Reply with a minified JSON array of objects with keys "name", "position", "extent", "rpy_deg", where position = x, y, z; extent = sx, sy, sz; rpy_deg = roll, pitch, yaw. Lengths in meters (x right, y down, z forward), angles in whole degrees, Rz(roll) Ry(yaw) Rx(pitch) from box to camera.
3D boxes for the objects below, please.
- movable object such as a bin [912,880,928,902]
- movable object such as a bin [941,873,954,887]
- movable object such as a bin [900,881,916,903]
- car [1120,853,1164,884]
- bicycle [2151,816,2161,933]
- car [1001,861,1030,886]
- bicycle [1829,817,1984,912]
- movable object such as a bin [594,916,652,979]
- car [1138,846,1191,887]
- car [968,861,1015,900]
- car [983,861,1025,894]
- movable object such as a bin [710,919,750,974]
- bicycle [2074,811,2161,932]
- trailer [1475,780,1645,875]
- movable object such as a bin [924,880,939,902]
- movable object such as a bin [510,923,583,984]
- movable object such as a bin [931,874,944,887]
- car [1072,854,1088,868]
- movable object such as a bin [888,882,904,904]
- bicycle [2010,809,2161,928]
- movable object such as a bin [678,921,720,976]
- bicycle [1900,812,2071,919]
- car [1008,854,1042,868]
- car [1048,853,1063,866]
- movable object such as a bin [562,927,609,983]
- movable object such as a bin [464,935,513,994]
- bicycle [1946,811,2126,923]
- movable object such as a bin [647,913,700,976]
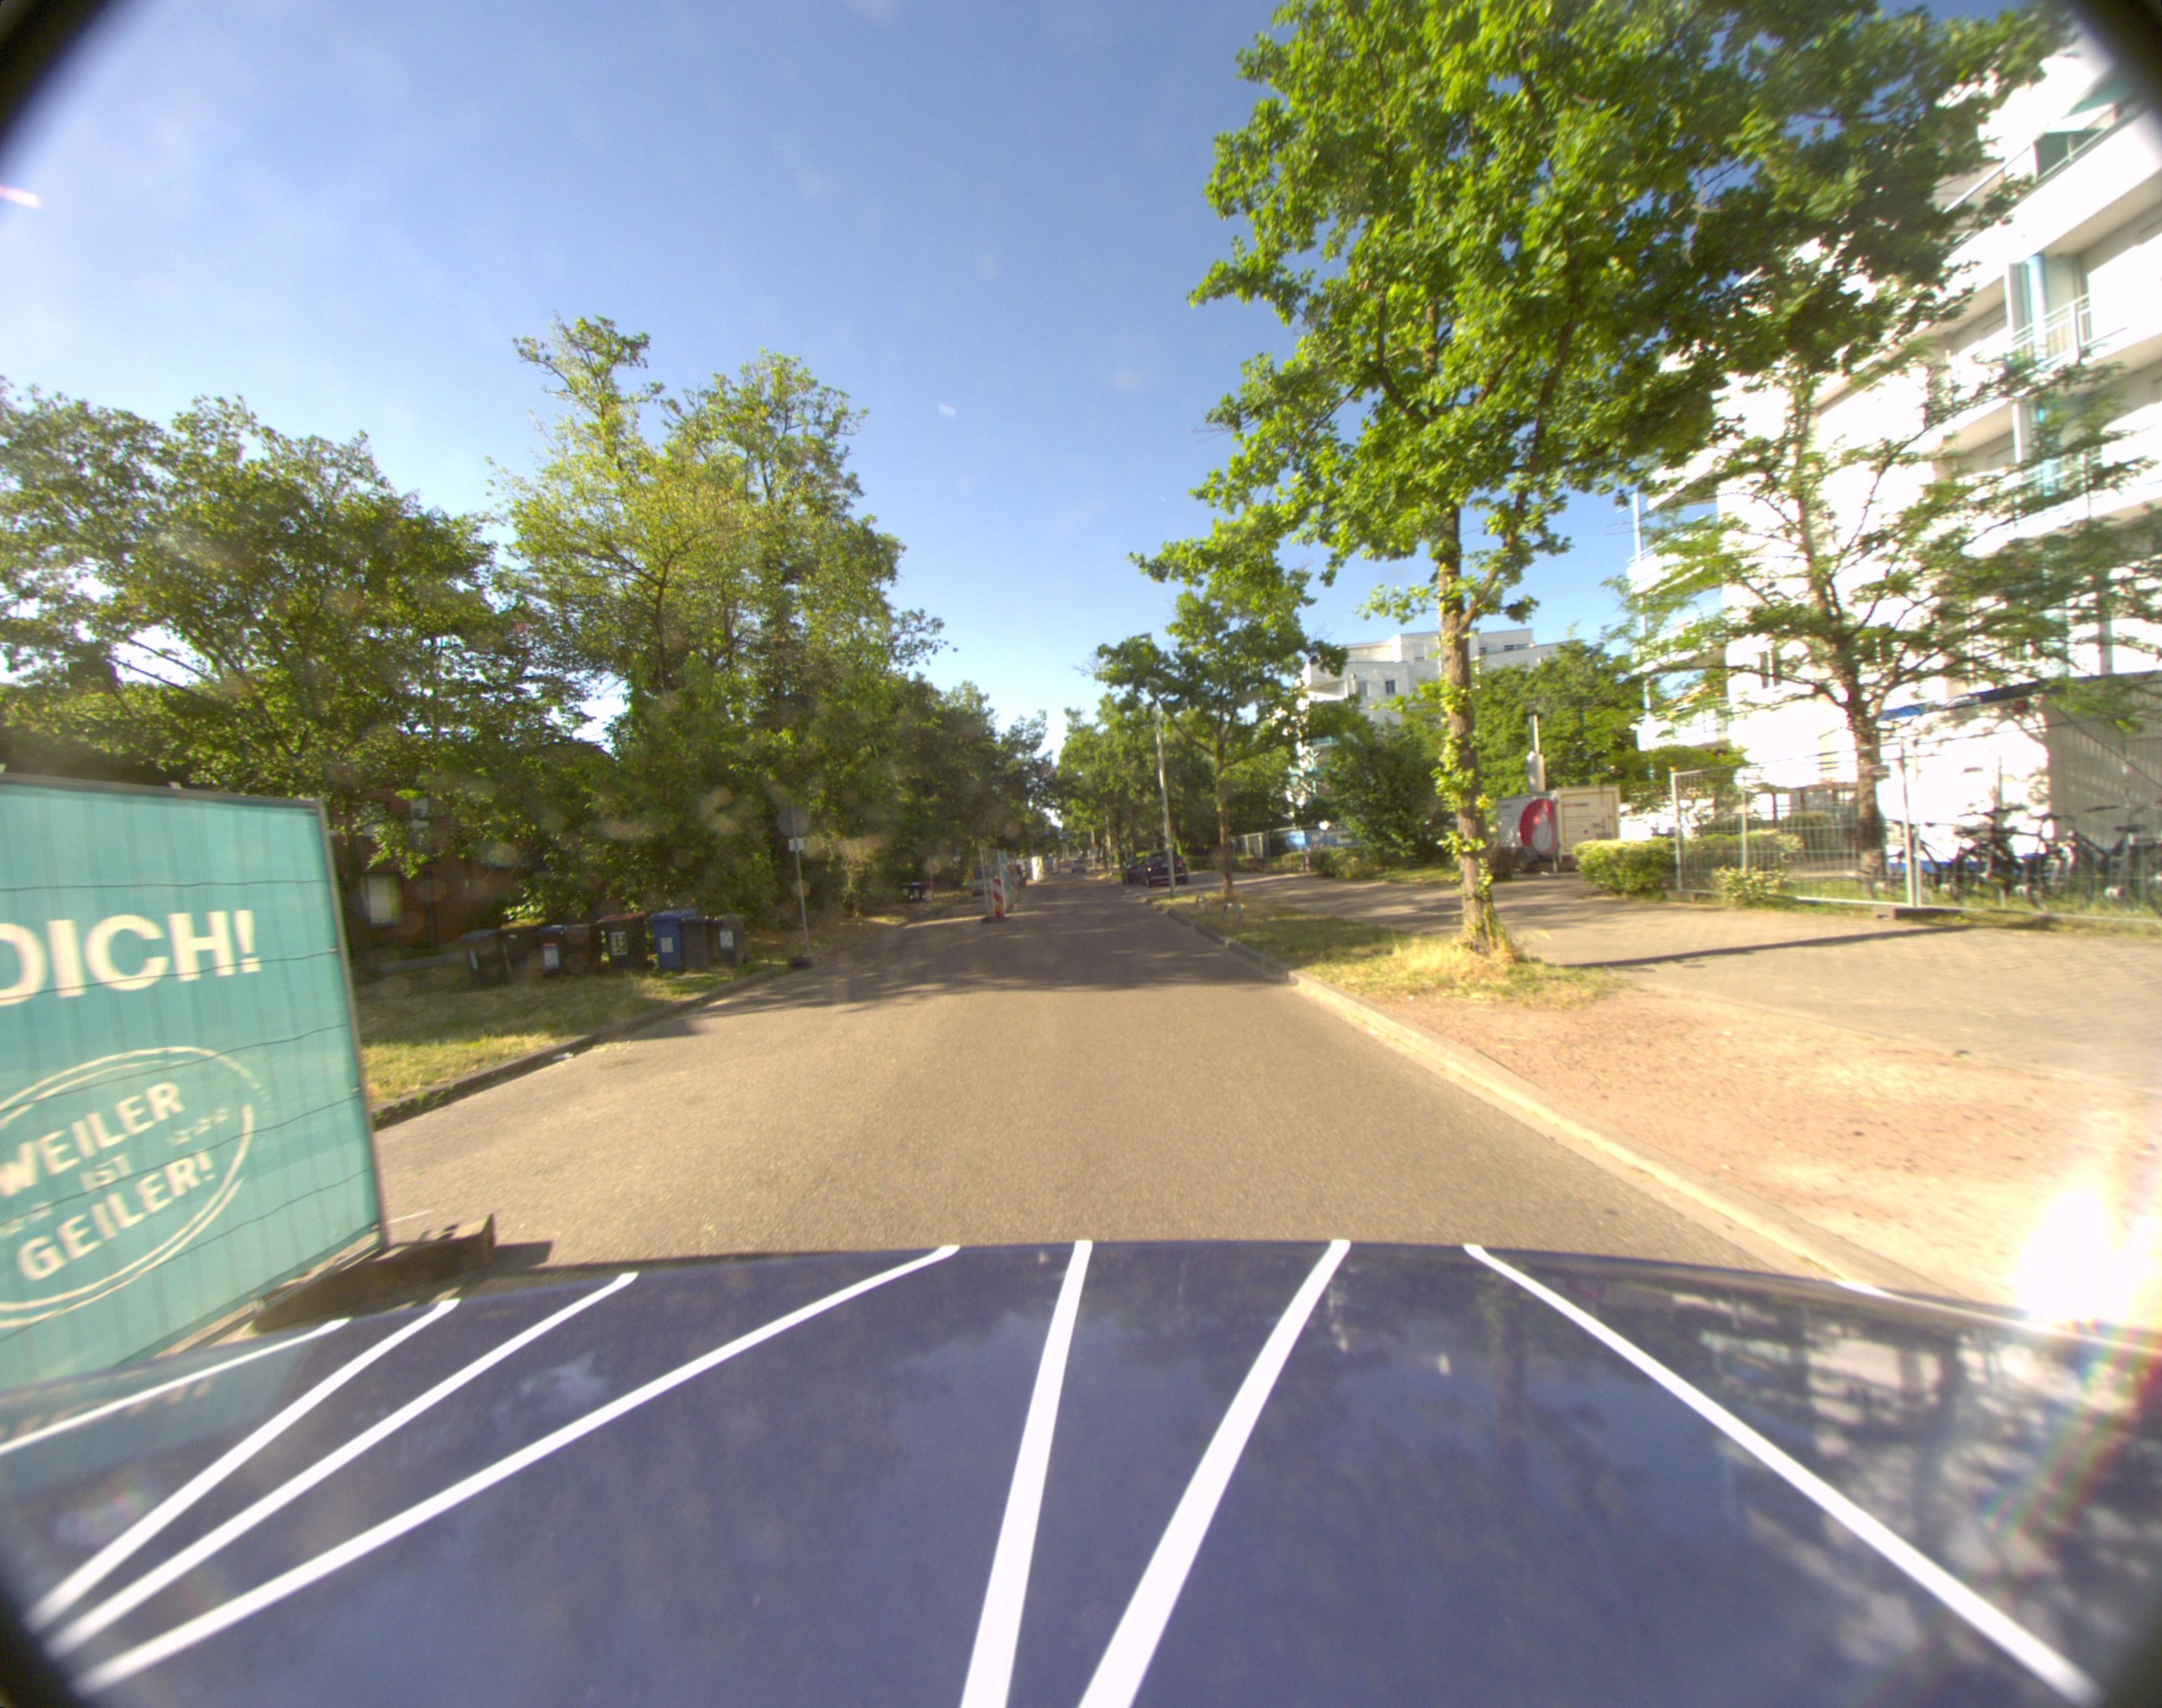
[{"name":"movable object such as a bin","position":[-6.743,1.550,31.811],"extent":[0.485,0.856,0.559],"rpy_deg":[-5,0,-3]},{"name":"movable object such as a bin","position":[-9.353,1.823,53.264],"extent":[0.727,0.877,0.462],"rpy_deg":[-3,7,6]},{"name":"movable object such as a bin","position":[-7.237,1.601,31.790],"extent":[0.485,0.856,0.559],"rpy_deg":[-5,0,-3]},{"name":"car","position":[3.275,0.763,41.430],"extent":[1.721,1.424,4.136],"rpy_deg":[-6,0,-4]},{"name":"bicycle","position":[10.405,0.112,6.693],"extent":[1.921,1.021,0.400],"rpy_deg":[-5,1,-13]},{"name":"car","position":[-4.425,1.323,51.708],"extent":[1.497,1.500,2.677],"rpy_deg":[-5,0,2]},{"name":"bicycle","position":[10.288,0.117,9.467],"extent":[1.875,1.021,0.400],"rpy_deg":[-5,1,-13]},{"name":"movable object such as a bin","position":[-7.876,1.595,13.078],"extent":[0.564,0.994,0.608],"rpy_deg":[-3,1,1]},{"name":"car","position":[3.771,0.546,34.859],"extent":[1.780,1.612,4.220],"rpy_deg":[-6,0,0]},{"name":"car","position":[-4.294,1.223,36.999],"extent":[1.683,1.612,4.137],"rpy_deg":[-5,0,-1]},{"name":"car","position":[-4.245,1.274,42.361],"extent":[1.683,1.565,4.066],"rpy_deg":[-5,0,1]},{"name":"movable object such as a bin","position":[-6.010,1.575,13.030],"extent":[0.414,0.865,0.484],"rpy_deg":[-3,1,1]},{"name":"bicycle","position":[10.308,0.113,7.158],"extent":[1.844,1.021,0.400],"rpy_deg":[-5,1,-13]},{"name":"trailer","position":[12.712,-0.644,20.536],"extent":[1.868,2.108,4.347],"rpy_deg":[-6,0,4]},{"name":"movable object such as a bin","position":[-6.252,1.530,31.838],"extent":[0.485,0.856,0.559],"rpy_deg":[-5,0,-3]},{"name":"movable object such as a bin","position":[-9.135,1.688,13.006],"extent":[0.696,0.923,0.695],"rpy_deg":[-3,1,1]},{"name":"movable object such as a bin","position":[-10.086,1.856,53.344],"extent":[0.727,0.877,0.462],"rpy_deg":[-3,7,6]},{"name":"car","position":[-0.136,0.828,89.335],"extent":[1.664,1.587,4.007],"rpy_deg":[-3,0,-3]},{"name":"movable object such as a bin","position":[-7.732,1.625,31.830],"extent":[0.485,0.856,0.559],"rpy_deg":[-5,0,-3]},{"name":"bicycle","position":[10.234,0.118,7.580],"extent":[1.865,1.021,0.400],"rpy_deg":[-5,1,-13]},{"name":"movable object such as a bin","position":[-6.502,1.598,12.954],"extent":[0.414,0.865,0.484],"rpy_deg":[-3,1,1]},{"name":"bicycle","position":[10.151,0.113,8.525],"extent":[1.861,1.021,0.400],"rpy_deg":[-5,1,-13]},{"name":"car","position":[-9.201,1.214,124.950],"extent":[5.269,1.993,2.000],"rpy_deg":[-3,0,-2]},{"name":"car","position":[-3.886,0.812,114.657],"extent":[1.998,1.871,4.000],"rpy_deg":[-3,1,1]},{"name":"movable object such as a bin","position":[-8.455,1.711,12.975],"extent":[0.419,0.865,0.525],"rpy_deg":[-3,1,1]},{"name":"movable object such as a bin","position":[-9.962,1.851,12.792],"extent":[0.426,0.877,0.524],"rpy_deg":[-3,1,-11]},{"name":"bicycle","position":[10.124,0.120,8.052],"extent":[1.844,1.021,0.400],"rpy_deg":[-5,1,-13]},{"name":"movable object such as a bin","position":[-7.024,1.556,13.114],"extent":[0.520,0.994,0.608],"rpy_deg":[-3,1,1]}]
